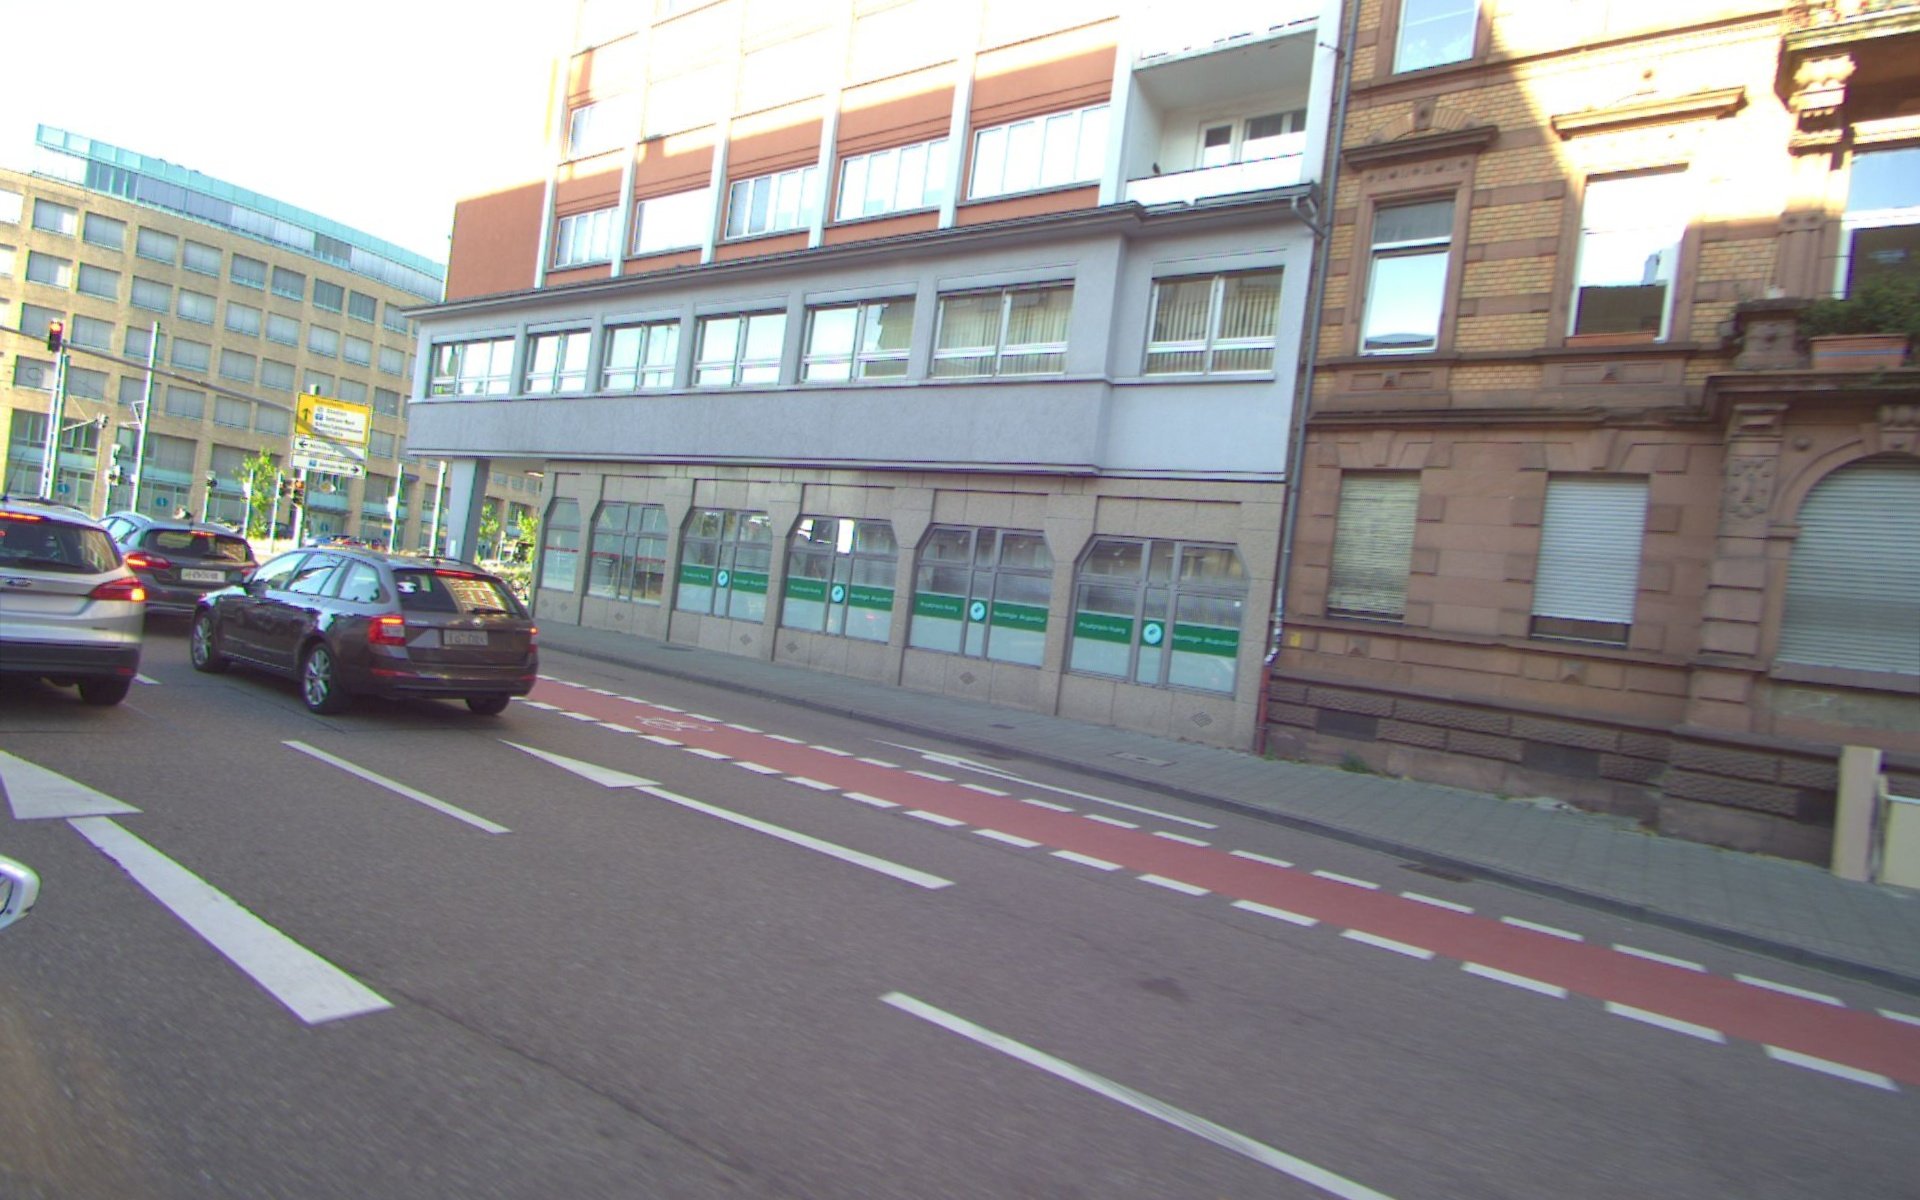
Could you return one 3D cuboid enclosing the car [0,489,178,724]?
[{"bbox_3d":[-7.984,-0.156,7.860,4.241,1.528,1.709,7,-1,36],"label":"car"}]

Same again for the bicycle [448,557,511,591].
[{"bbox_3d":[-19.288,-1.039,40.422,0.731,1.130,2.087,7,1,34],"label":"bicycle"}]

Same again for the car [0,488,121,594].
[{"bbox_3d":[-16.202,-1.102,17.513,3.423,1.524,1.490,7,0,34],"label":"car"}]

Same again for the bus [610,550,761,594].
[{"bbox_3d":[-28.116,-2.751,104.950,2.383,2.466,18.192,8,-1,32],"label":"bus"}]

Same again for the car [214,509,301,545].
[{"bbox_3d":[-46.646,-4.829,66.874,1.969,1.634,4.229,7,0,37],"label":"car"}]

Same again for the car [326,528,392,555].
[{"bbox_3d":[-43.016,-4.182,72.042,1.695,1.358,3.609,7,0,36],"label":"car"}]

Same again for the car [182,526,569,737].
[{"bbox_3d":[-5.918,0.235,10.023,4.093,1.475,1.708,7,0,36],"label":"car"}]

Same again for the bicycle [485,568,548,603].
[{"bbox_3d":[-17.080,-0.551,38.773,0.731,1.130,2.087,7,1,34],"label":"bicycle"}]

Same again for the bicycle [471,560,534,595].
[{"bbox_3d":[-18.005,-0.876,39.607,0.731,1.130,2.087,7,1,34],"label":"bicycle"}]

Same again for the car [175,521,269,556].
[{"bbox_3d":[-49.819,-4.134,67.985,1.967,1.617,4.652,7,0,33],"label":"car"}]

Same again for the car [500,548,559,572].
[{"bbox_3d":[-35.652,-3.292,83.441,1.968,1.362,3.991,7,-1,33],"label":"car"}]

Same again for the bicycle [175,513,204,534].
[{"bbox_3d":[-52.202,-5.164,68.163,1.513,1.187,0.470,7,0,-39],"label":"bicycle"}]

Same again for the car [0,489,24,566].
[{"bbox_3d":[-20.562,-1.668,20.357,3.590,1.463,1.586,7,-1,35],"label":"car"}]

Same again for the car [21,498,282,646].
[{"bbox_3d":[-11.276,-0.431,13.945,4.173,1.502,1.652,7,-1,36],"label":"car"}]

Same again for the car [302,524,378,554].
[{"bbox_3d":[-45.577,-4.476,74.015,1.967,1.520,4.234,7,0,32],"label":"car"}]
